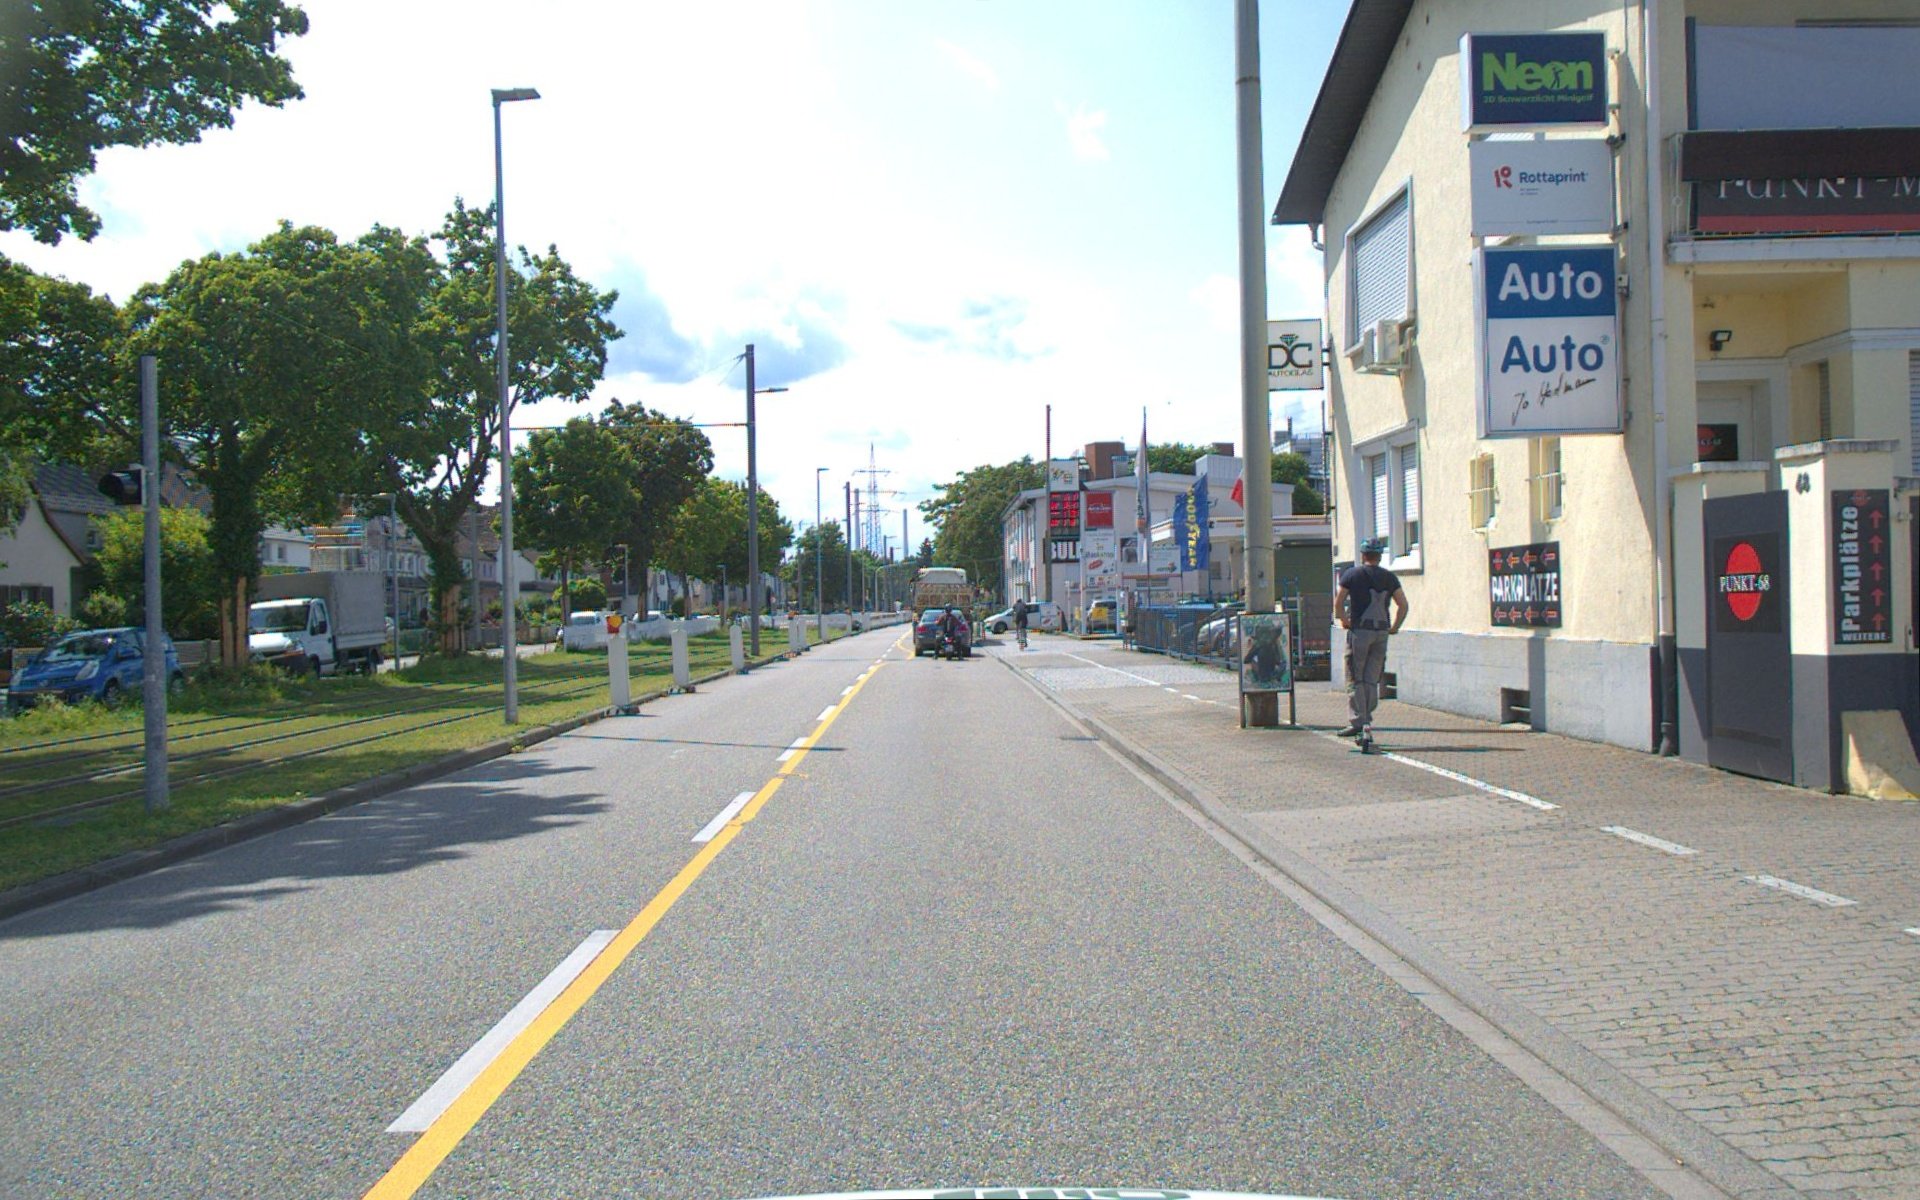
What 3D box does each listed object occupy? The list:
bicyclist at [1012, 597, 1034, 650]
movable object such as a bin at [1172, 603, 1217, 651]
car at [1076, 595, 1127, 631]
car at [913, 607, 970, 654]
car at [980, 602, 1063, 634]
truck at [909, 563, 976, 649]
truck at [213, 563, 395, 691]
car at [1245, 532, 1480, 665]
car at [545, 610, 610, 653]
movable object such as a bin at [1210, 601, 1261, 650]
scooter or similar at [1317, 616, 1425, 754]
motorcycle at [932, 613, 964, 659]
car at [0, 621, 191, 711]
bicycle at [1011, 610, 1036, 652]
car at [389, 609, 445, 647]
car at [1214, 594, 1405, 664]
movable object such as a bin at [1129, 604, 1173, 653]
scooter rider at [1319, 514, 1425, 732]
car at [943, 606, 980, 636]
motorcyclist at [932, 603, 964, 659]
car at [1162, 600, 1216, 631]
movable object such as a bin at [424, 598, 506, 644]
[{"bbox_3d":[2.141,0.792,56.308,0.657,1.774,0.813,-1,-1,-1],"label":"bicyclist"},{"bbox_3d":[7.325,0.845,51.702,1.230,1.469,0.824,-2,-1,-1],"label":"movable object such as a bin"},{"bbox_3d":[6.905,0.667,81.171,1.920,1.677,3.997,-2,-1,-3],"label":"car"},{"bbox_3d":[-0.600,0.970,54.239,1.784,1.449,3.999,-1,0,-1],"label":"car"},{"bbox_3d":[3.379,0.997,91.694,4.250,1.579,1.946,-2,-1,-9],"label":"car"},{"bbox_3d":[-0.710,0.174,70.194,2.557,3.312,9.181,-2,1,0],"label":"truck"},{"bbox_3d":[-16.196,0.614,41.290,1.953,2.815,6.274,-4,0,-1],"label":"truck"},{"bbox_3d":[8.490,-0.010,35.209,4.443,2.618,2.151,-2,-1,1],"label":"car"},{"bbox_3d":[-16.960,1.386,73.584,1.953,1.780,3.999,-2,-1,-1],"label":"car"},{"bbox_3d":[8.624,0.808,51.753,1.295,1.469,0.953,-2,-1,-8],"label":"movable object such as a bin"},{"bbox_3d":[3.865,0.775,15.663,0.529,1.216,1.610,-3,-1,-1],"label":"scooter or similar"},{"bbox_3d":[-0.366,1.079,49.768,0.920,1.343,2.644,1,-1,-1],"label":"motorcycle"},{"bbox_3d":[-16.001,1.172,30.430,1.954,1.478,3.997,-2,-1,-3],"label":"car"},{"bbox_3d":[2.163,1.044,56.302,0.679,1.385,2.418,-2,0,-1],"label":"bicycle"},{"bbox_3d":[-25.939,1.338,79.106,1.650,1.752,3.029,-2,-1,-1],"label":"car"},{"bbox_3d":[7.973,0.662,38.013,4.095,1.456,1.821,-2,-1,6],"label":"car"},{"bbox_3d":[5.975,0.883,51.788,1.230,1.469,0.824,-2,-1,-1],"label":"movable object such as a bin"},{"bbox_3d":[3.949,0.206,15.893,0.702,1.997,0.785,-4,1,0],"label":"scooter rider"},{"bbox_3d":[0.051,1.041,83.446,1.784,1.490,3.999,-1,0,0],"label":"car"},{"bbox_3d":[-0.359,0.921,49.589,0.920,1.643,1.204,1,-1,-1],"label":"motorcyclist"},{"bbox_3d":[11.320,0.778,81.965,1.920,1.445,3.997,-2,-1,-3],"label":"car"},{"bbox_3d":[-28.266,1.188,94.429,4.277,2.492,1.776,-1,0,-23],"label":"movable object such as a bin"}]
